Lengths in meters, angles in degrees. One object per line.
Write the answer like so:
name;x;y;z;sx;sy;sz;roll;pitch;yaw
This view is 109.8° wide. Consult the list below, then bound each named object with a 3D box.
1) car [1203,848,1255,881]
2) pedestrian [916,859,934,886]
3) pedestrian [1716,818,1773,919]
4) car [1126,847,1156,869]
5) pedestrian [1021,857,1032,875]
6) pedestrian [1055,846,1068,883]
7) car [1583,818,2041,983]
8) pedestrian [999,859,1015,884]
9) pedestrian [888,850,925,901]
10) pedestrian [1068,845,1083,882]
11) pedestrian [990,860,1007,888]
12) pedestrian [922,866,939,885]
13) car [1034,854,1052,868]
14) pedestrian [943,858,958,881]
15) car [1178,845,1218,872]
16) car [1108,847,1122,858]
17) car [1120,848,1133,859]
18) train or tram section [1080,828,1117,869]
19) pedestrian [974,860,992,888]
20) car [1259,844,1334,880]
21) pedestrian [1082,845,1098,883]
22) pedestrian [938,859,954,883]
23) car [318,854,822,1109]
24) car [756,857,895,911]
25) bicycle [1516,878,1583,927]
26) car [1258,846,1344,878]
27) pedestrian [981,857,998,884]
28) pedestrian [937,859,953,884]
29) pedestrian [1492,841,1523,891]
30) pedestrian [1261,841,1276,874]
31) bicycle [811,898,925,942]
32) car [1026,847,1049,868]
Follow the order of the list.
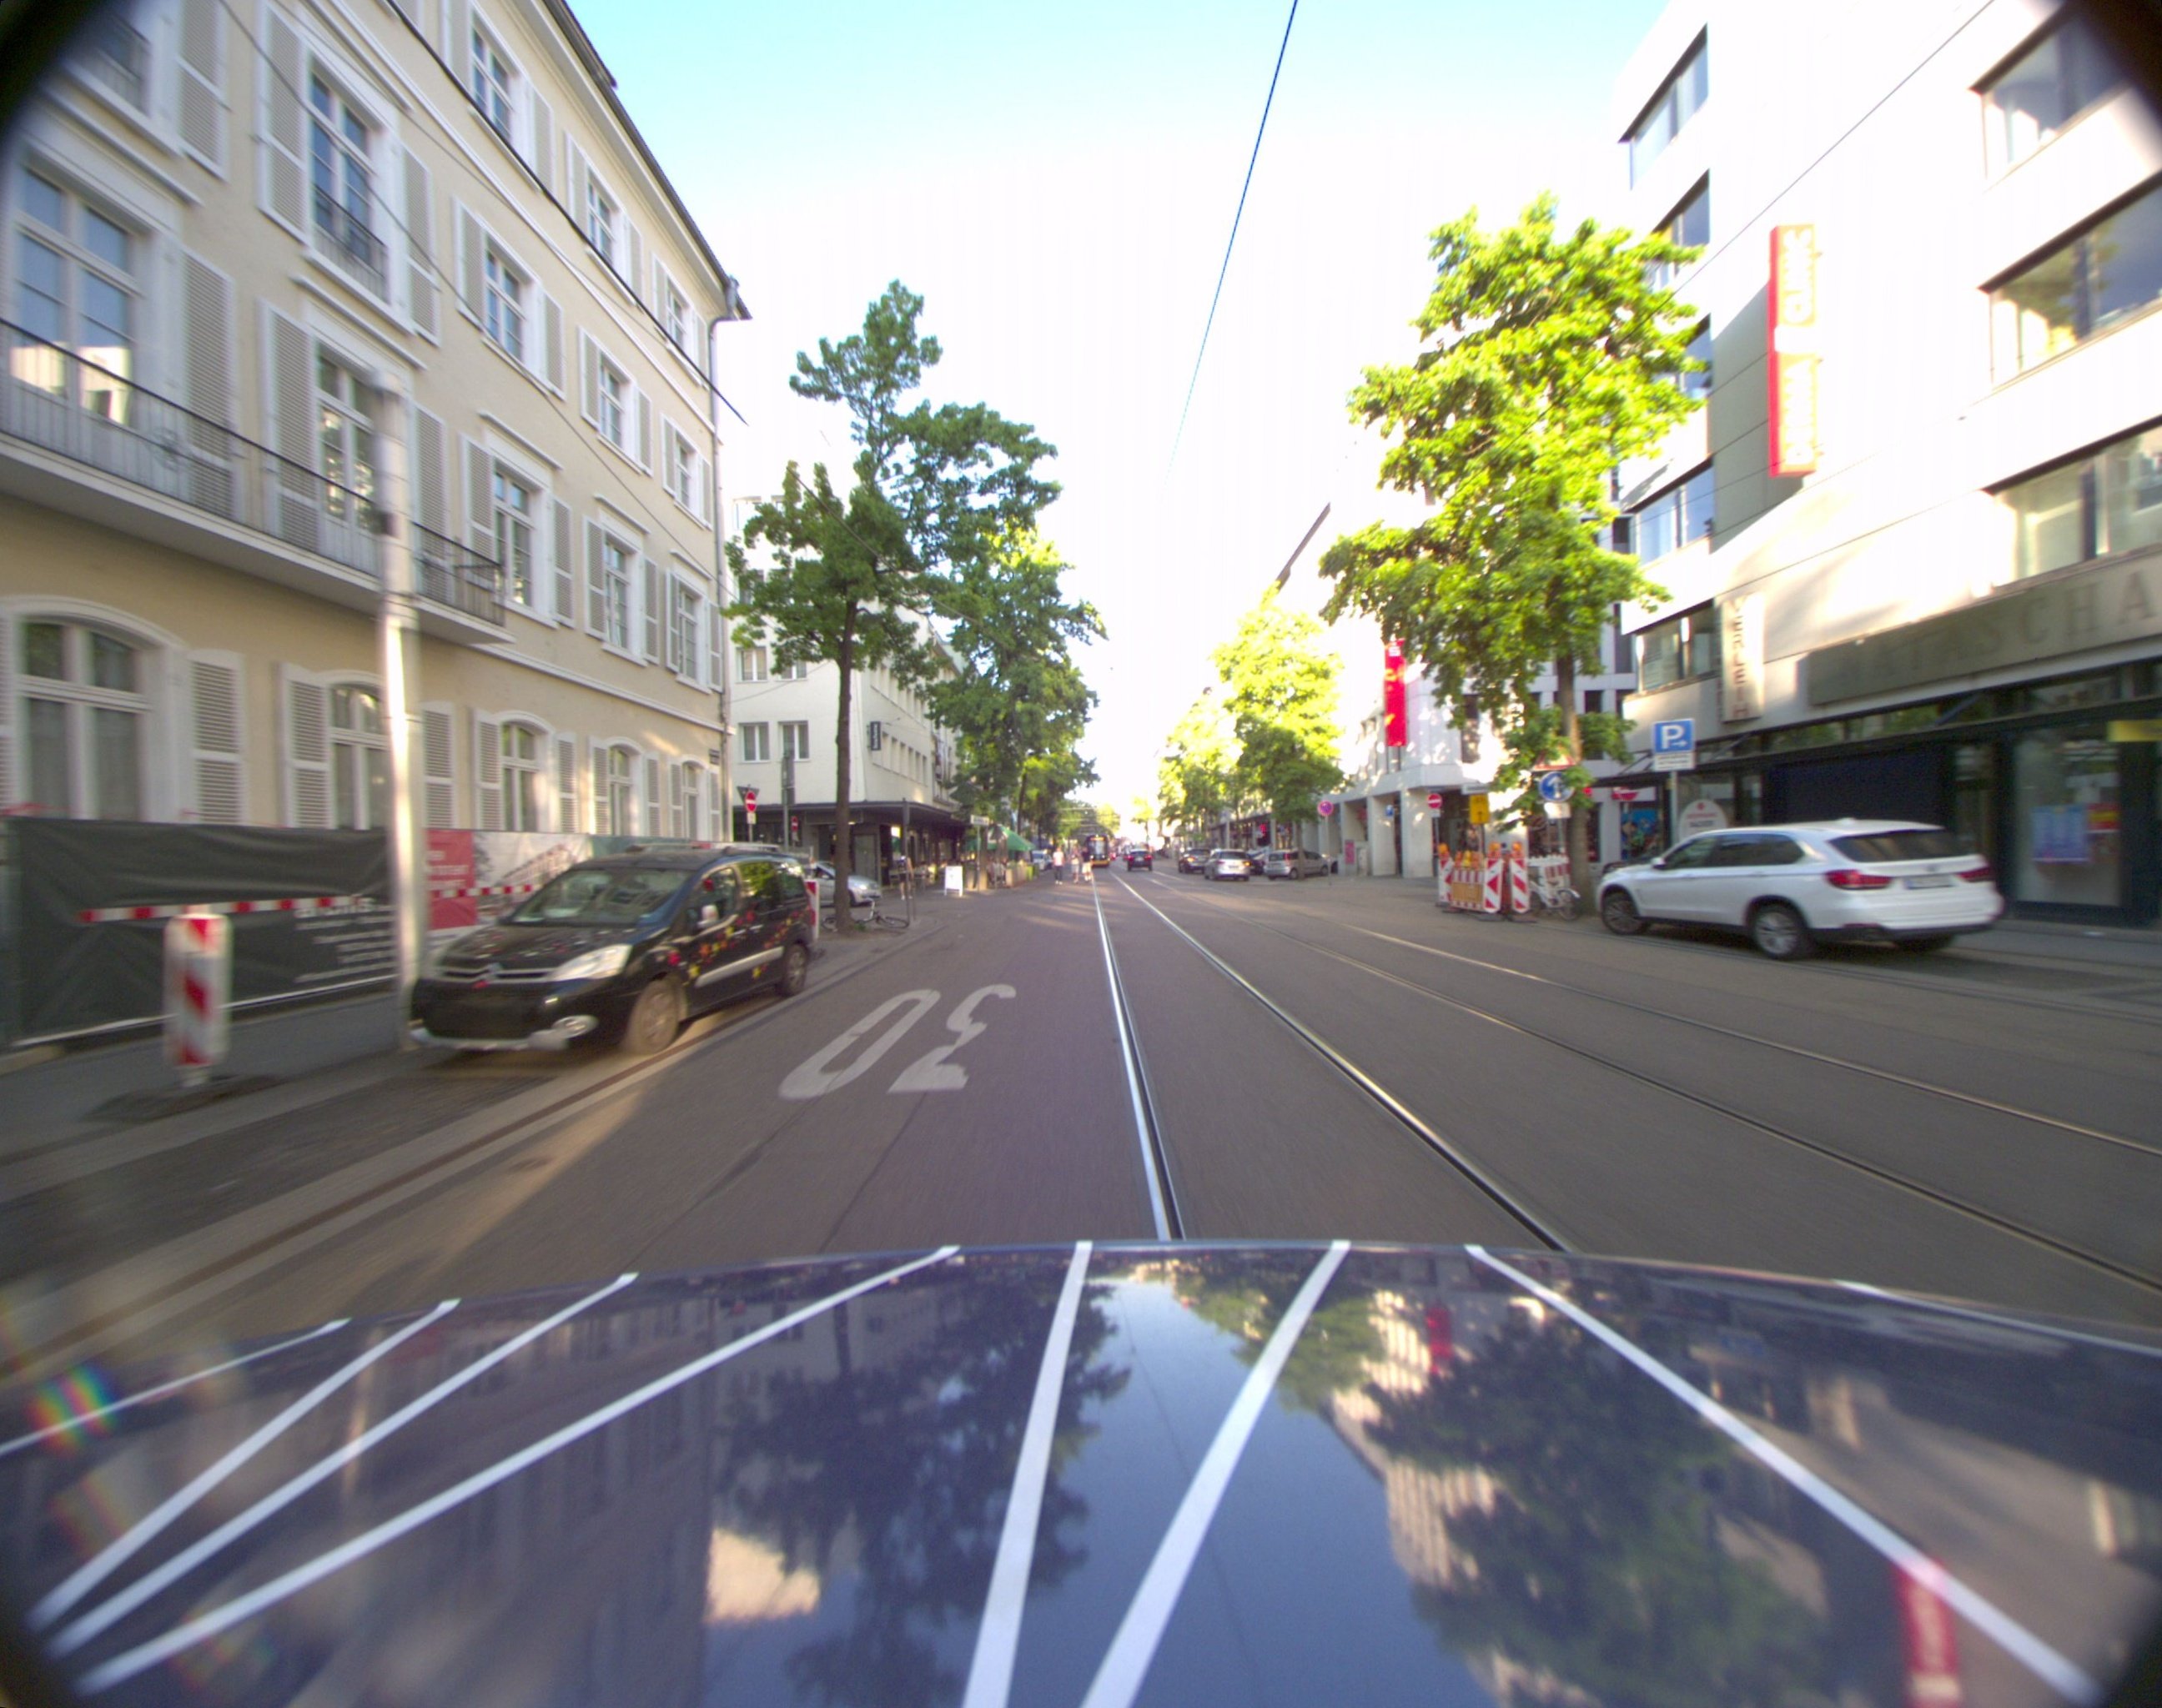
car;7.568;0.514;39.314;1.889;1.602;4.200;0;0;0
pedestrian;-7.911;0.924;38.476;0.716;1.321;0.624;-1;1;2
pedestrian;13.452;0.285;15.416;0.616;2.002;0.592;-2;1;-1
car;4.757;0.295;60.872;2.039;1.677;4.200;-2;0;0
pedestrian;-4.022;0.907;56.521;0.716;1.321;0.624;-1;1;2
pedestrian;-1.022;0.527;39.976;0.598;1.922;0.873;-1;1;3
car;9.850;0.526;10.979;1.998;1.744;4.744;-4;0;0
pedestrian;-3.904;0.916;39.909;0.716;1.321;0.624;-1;1;2
pedestrian;-6.516;0.801;28.445;0.945;1.805;1.071;-2;3;8
pedestrian;-0.300;0.508;40.041;0.672;1.922;0.873;-1;1;3
pedestrian;-3.995;0.959;36.818;0.716;1.321;0.624;-1;1;2
pedestrian;-7.839;1.118;39.665;0.716;0.927;0.624;-1;0;2
car;-3.743;0.633;75.388;1.715;1.318;3.593;-2;0;-2
pedestrian;-7.633;0.902;44.459;0.716;1.321;0.624;-1;1;2
car;7.915;0.283;51.764;2.039;1.796;4.200;-1;0;0
car;6.234;-0.327;138.981;2.218;1.849;3.999;-2;0;-1
car;7.236;-0.096;120.814;1.715;1.586;3.999;-2;0;-2
train or tram section;1.844;-0.508;83.070;3.607;3.974;15.715;-1;0;1
pedestrian;-4.739;0.978;36.859;0.716;1.321;0.624;-1;1;2
car;11.070;0.411;38.926;3.405;1.551;1.785;-5;2;-32
pedestrian;0.468;0.499;39.575;0.772;1.922;0.873;-1;1;3
pedestrian;-7.722;0.964;43.508;0.716;1.321;0.624;-1;1;2
car;-4.438;0.915;7.638;1.956;1.782;4.316;0;1;4
car;-8.520;0.978;25.542;3.937;1.600;1.867;-2;2;8
bicycle;9.477;0.957;15.430;0.503;0.832;1.535;-4;1;6
car;12.115;0.402;41.903;4.320;1.404;1.576;-5;2;-17
pedestrian;-4.553;0.816;37.974;0.716;1.321;0.624;-1;1;2
pedestrian;-7.418;0.957;41.344;0.716;1.321;0.624;-1;1;2
pedestrian;14.341;0.385;25.541;0.727;1.636;0.610;-2;1;-32
pedestrian;10.801;0.201;43.705;0.656;1.922;0.723;-1;1;3
bicycle;-4.491;1.368;16.150;1.753;0.744;1.566;0;1;18
car;-3.946;0.303;69.612;2.003;1.831;4.966;0;1;-2
